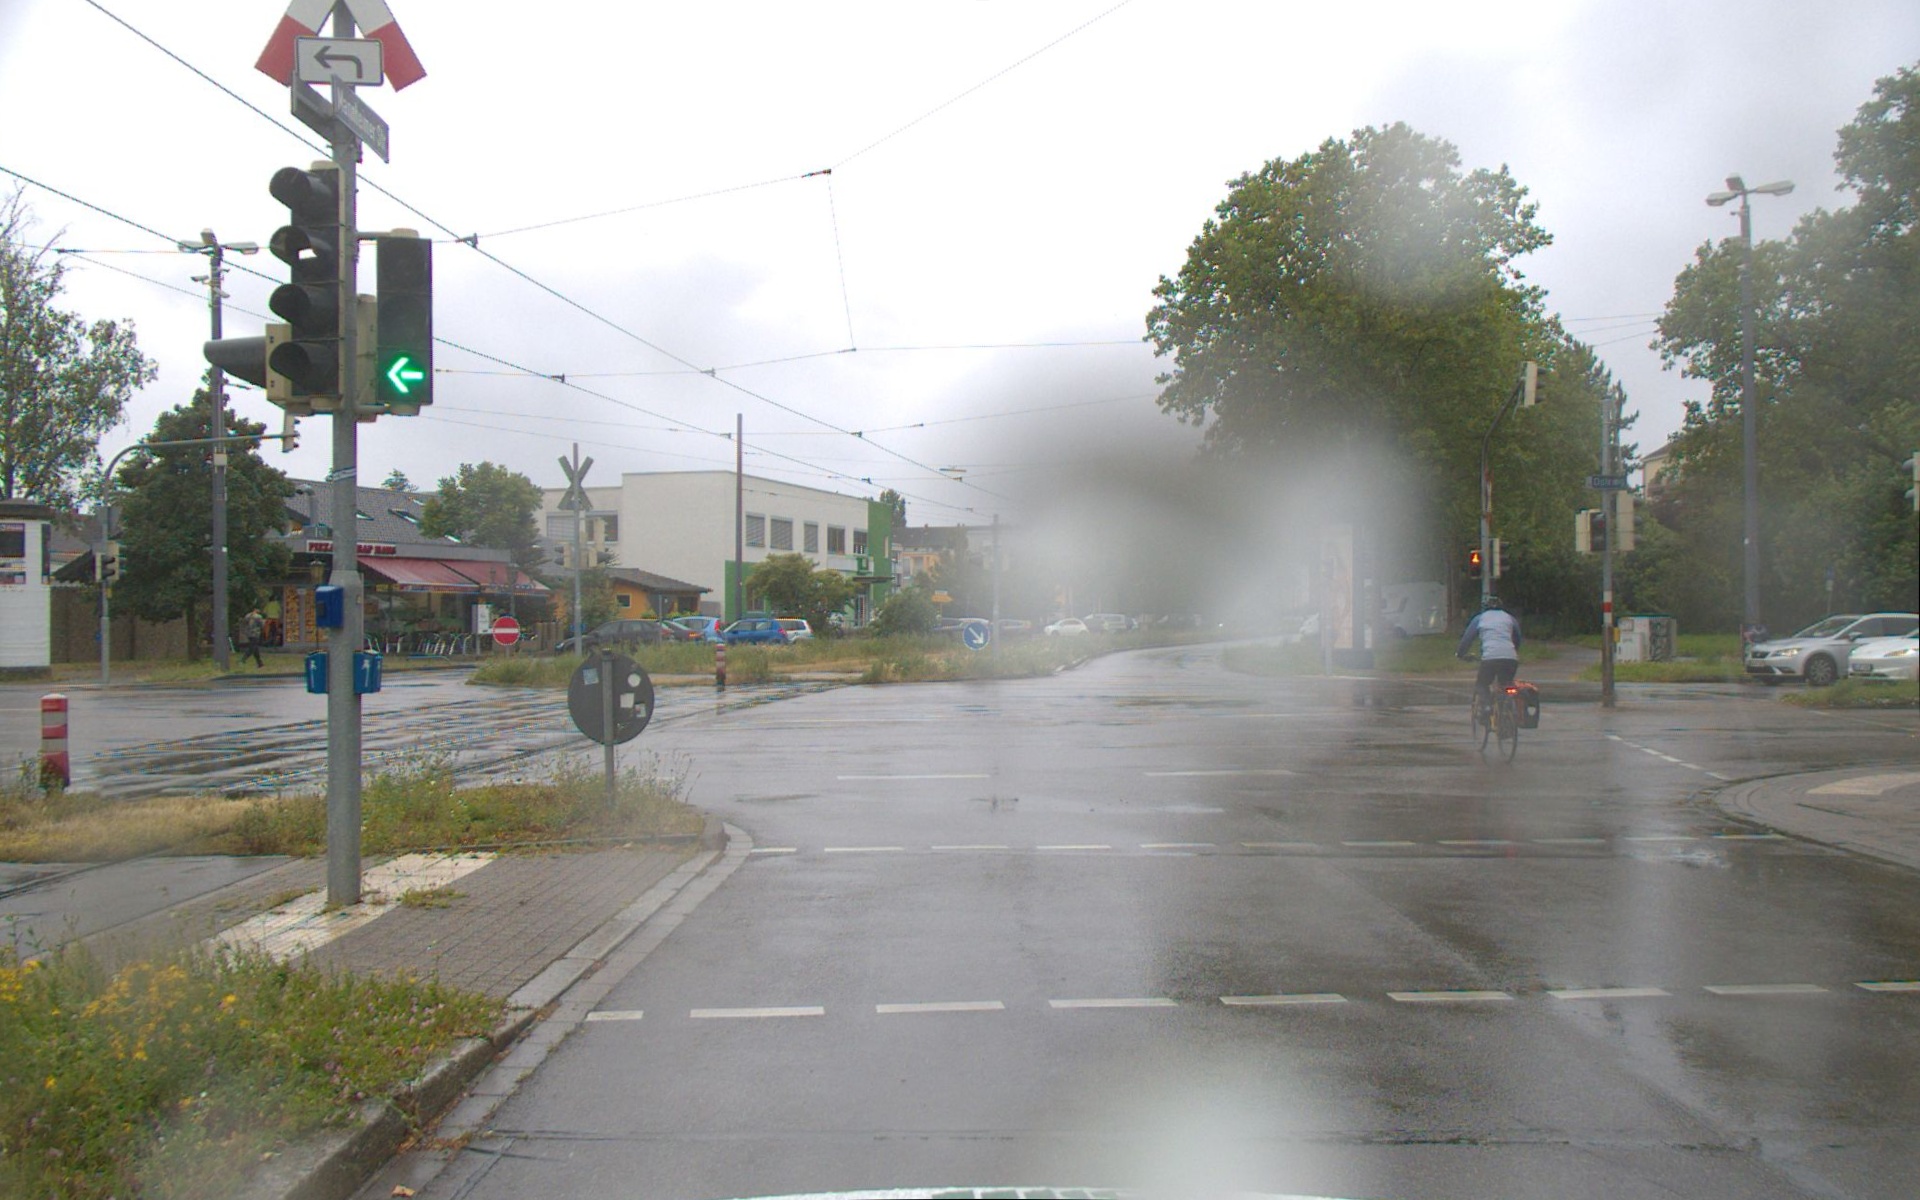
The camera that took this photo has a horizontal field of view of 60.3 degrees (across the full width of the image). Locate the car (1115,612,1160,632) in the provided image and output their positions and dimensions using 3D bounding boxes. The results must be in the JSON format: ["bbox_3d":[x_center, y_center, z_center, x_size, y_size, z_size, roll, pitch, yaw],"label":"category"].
[{"bbox_3d":[17.024,2.113,158.634,3.909,1.864,1.998,1,-1,-5],"label":"car"}]

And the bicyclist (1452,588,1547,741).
[{"bbox_3d":[5.566,0.663,17.102,0.677,1.532,0.843,1,-1,-4],"label":"bicyclist"}]

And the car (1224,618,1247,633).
[{"bbox_3d":[32.560,3.022,195.151,1.852,1.691,3.999,0,-1,22],"label":"car"}]

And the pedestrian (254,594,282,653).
[{"bbox_3d":[-24.429,0.827,58.379,0.783,2.049,0.718,1,-1,-30],"label":"pedestrian"}]

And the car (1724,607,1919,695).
[{"bbox_3d":[18.343,1.056,34.159,4.309,1.721,1.931,1,-1,-7],"label":"car"}]

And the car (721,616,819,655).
[{"bbox_3d":[-8.317,1.540,72.237,4.040,1.670,1.922,0,-1,-15],"label":"car"}]

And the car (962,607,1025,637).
[{"bbox_3d":[2.180,1.465,109.555,3.911,1.921,1.997,1,-1,-8],"label":"car"}]

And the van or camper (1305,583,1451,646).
[{"bbox_3d":[22.607,0.788,89.451,7.273,3.234,3.262,1,-1,22],"label":"van or camper"}]

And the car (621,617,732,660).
[{"bbox_3d":[-10.948,1.493,64.010,3.903,1.609,1.859,0,-1,4],"label":"car"}]

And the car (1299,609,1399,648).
[{"bbox_3d":[18.176,1.316,77.284,4.352,1.747,2.000,1,-1,20],"label":"car"}]

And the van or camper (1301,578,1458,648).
[{"bbox_3d":[20.386,0.609,80.285,7.168,3.234,3.264,1,-1,17],"label":"van or camper"}]

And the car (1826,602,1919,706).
[{"bbox_3d":[18.819,1.011,30.786,4.506,1.860,1.931,1,-1,-7],"label":"car"}]

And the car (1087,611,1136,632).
[{"bbox_3d":[13.223,1.908,144.537,3.917,1.789,2.004,1,-1,-12],"label":"car"}]

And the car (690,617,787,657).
[{"bbox_3d":[-9.262,1.514,69.024,3.917,1.609,1.924,0,-1,-12],"label":"car"}]

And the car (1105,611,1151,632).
[{"bbox_3d":[15.579,2.023,153.454,3.917,1.864,1.994,1,-1,-12],"label":"car"}]

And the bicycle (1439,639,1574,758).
[{"bbox_3d":[5.573,0.979,16.976,0.677,1.136,1.883,1,-1,-3],"label":"bicycle"}]

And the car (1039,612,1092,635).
[{"bbox_3d":[8.024,1.794,126.228,3.706,1.732,1.832,1,-1,-11],"label":"car"}]

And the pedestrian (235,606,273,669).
[{"bbox_3d":[-21.060,1.113,49.323,0.709,1.829,0.887,1,0,3],"label":"pedestrian"}]

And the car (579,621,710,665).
[{"bbox_3d":[-11.501,1.547,60.498,4.405,1.443,1.858,-2,-1,0],"label":"car"}]

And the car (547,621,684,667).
[{"bbox_3d":[-12.092,1.542,58.197,4.386,1.443,1.858,-2,-1,0],"label":"car"}]
